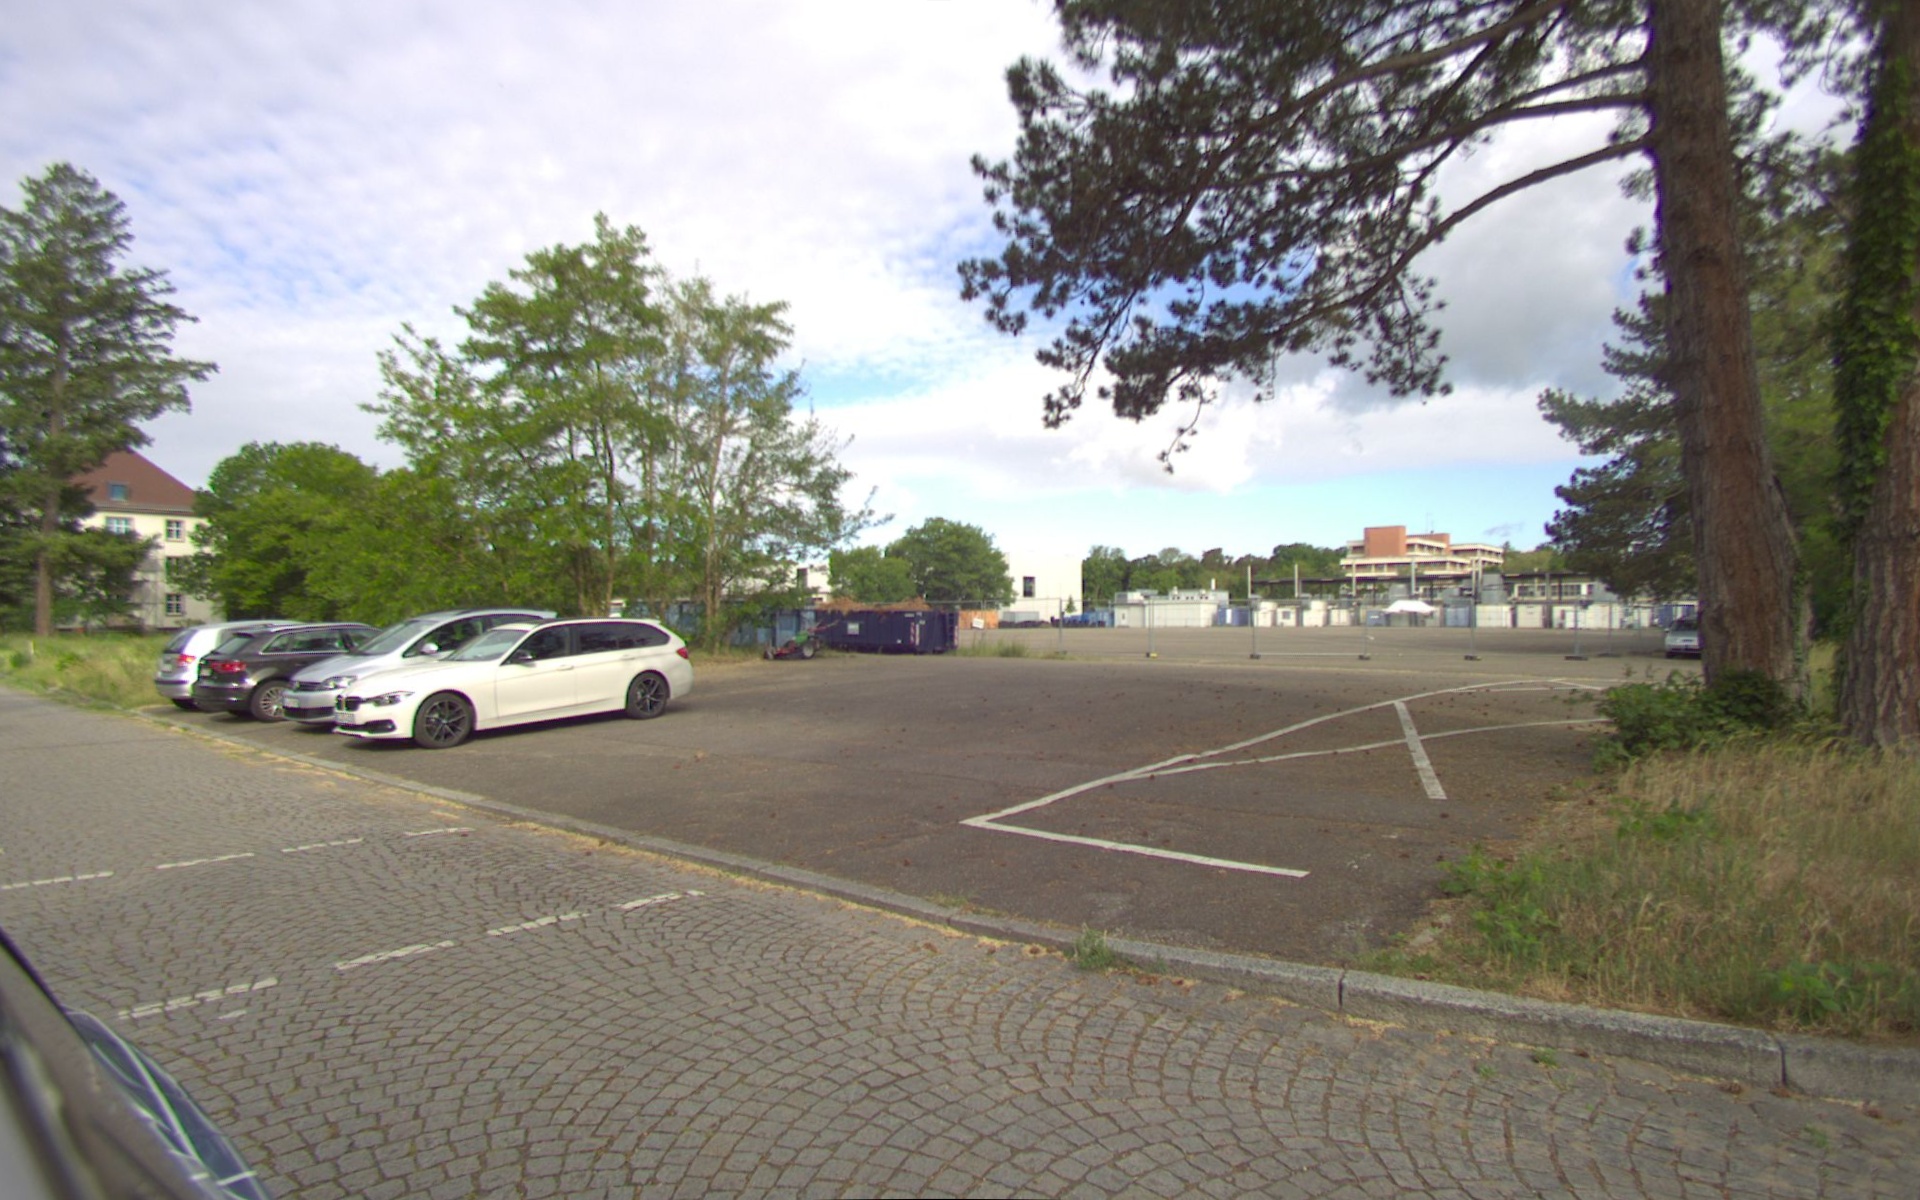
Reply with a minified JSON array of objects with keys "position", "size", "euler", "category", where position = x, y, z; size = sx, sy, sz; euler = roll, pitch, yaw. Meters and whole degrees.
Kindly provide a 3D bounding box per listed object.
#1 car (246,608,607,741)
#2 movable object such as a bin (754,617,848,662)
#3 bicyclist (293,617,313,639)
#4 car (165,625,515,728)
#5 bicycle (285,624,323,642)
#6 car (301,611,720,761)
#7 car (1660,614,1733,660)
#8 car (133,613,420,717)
[{"position":[-7.779,0.972,15.169],"size":[1.844,1.602,4.432],"euler":[-1,0,37],"category":"car"},{"position":[-4.525,1.104,28.899],"size":[1.170,1.221,2.505],"euler":[-1,-1,40],"category":"movable object such as a bin"},{"position":[-56.934,2.418,87.690],"size":[1.300,1.882,1.251],"euler":[1,-2,-43],"category":"bicyclist"},{"position":[-10.015,1.143,16.695],"size":[1.882,1.433,4.575],"euler":[-1,-2,38],"category":"car"},{"position":[-56.860,2.873,87.738],"size":[2.636,1.516,1.274],"euler":[1,-2,-44],"category":"bicycle"},{"position":[-5.751,0.972,13.532],"size":[1.911,1.450,4.759],"euler":[-1,1,38],"category":"car"},{"position":[25.543,1.220,35.048],"size":[1.922,1.488,4.313],"euler":[-1,-1,38],"category":"car"},{"position":[-12.178,1.080,18.272],"size":[1.677,1.467,3.938],"euler":[-1,1,36],"category":"car"}]
